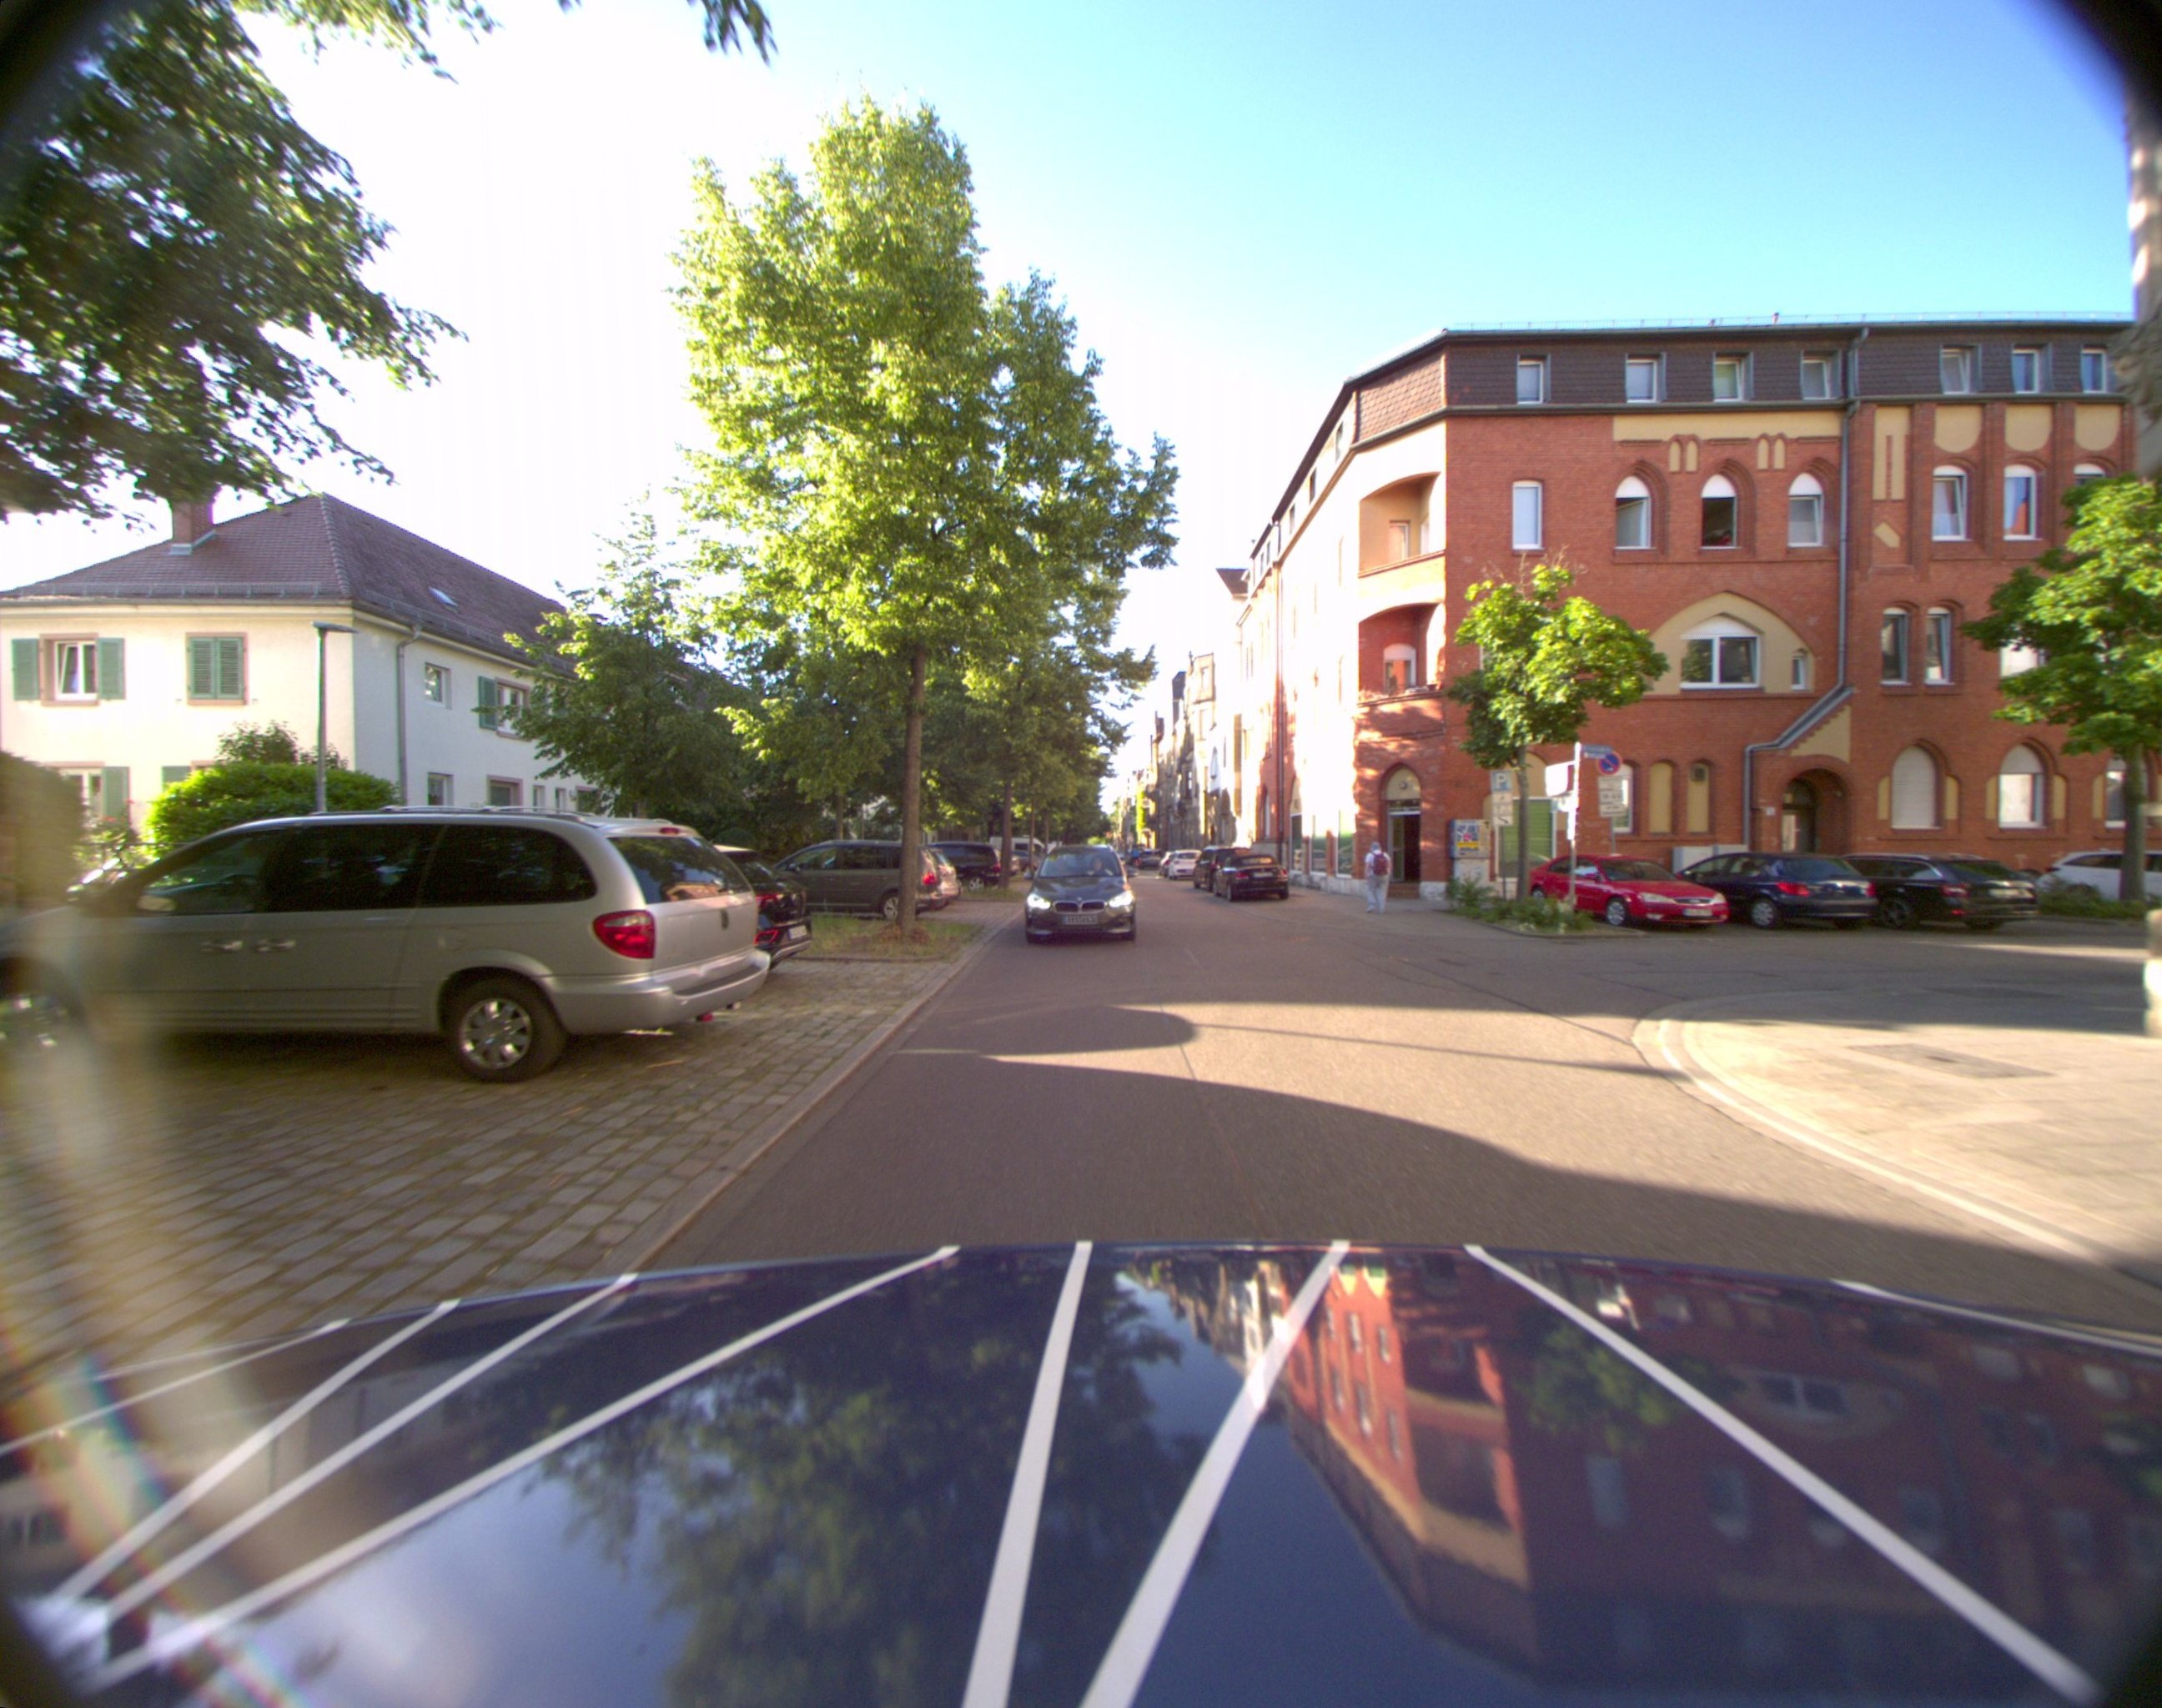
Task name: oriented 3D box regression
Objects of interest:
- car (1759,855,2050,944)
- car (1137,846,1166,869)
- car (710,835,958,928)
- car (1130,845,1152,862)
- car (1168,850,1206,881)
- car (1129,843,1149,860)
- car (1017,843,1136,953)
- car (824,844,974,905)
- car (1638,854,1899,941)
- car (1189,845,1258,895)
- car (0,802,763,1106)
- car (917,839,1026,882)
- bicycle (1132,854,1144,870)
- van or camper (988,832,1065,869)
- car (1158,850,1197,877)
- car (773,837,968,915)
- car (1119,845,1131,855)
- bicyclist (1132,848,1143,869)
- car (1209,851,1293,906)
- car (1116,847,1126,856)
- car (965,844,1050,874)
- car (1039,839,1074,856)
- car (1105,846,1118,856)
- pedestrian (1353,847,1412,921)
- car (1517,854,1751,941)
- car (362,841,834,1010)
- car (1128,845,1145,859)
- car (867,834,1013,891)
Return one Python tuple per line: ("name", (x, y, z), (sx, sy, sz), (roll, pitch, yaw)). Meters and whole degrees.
("car", (16.462, 0.811, 15.542), (1.717, 1.503, 3.914), (0, 1, 1))
("car", (5.508, 0.278, 59.776), (1.881, 1.707, 4.339), (-1, 1, 1))
("car", (-4.977, 0.547, 15.849), (4.552, 1.624, 1.811), (3, 1, -5))
("car", (5.631, -0.061, 71.633), (1.774, 1.493, 4.211), (0, 2, 0))
("car", (5.346, 0.530, 38.648), (1.570, 1.462, 3.591), (-1, 0, 3))
("car", (5.987, -0.309, 78.568), (1.774, 1.658, 4.211), (-1, 1, 0))
("car", (-0.012, 0.663, 13.844), (1.753, 1.596, 4.550), (-2, 0, 1))
("car", (-5.001, 0.550, 21.218), (3.731, 1.445, 1.589), (3, 1, 0))
("car", (14.123, 0.807, 16.014), (1.717, 1.541, 4.212), (0, 1, 1))
("car", (5.290, 0.535, 28.667), (1.673, 1.671, 4.349), (-1, 1, -1))
("car", (-5.008, 0.569, 5.479), (4.630, 1.700, 1.833), (2, 1, 2))
("car", (-4.809, 0.278, 33.686), (4.487, 1.624, 1.875), (3, 1, 0))
("bicycle", (4.106, 0.578, 55.113), (0.759, 1.101, 1.907), (0, 1, 1))
("van or camper", (-4.173, -0.275, 59.066), (5.733, 2.502, 2.162), (3, 1, 0))
("car", (5.477, 0.497, 43.684), (1.681, 1.434, 4.111), (-2, 0, 0))
("car", (-5.129, 0.504, 18.827), (4.282, 1.624, 1.690), (3, 1, 4))
("car", (7.110, -0.633, 123.645), (1.686, 1.496, 3.629), (-4, -1, 2))
("bicyclist", (4.103, 0.333, 55.085), (0.761, 1.446, 0.948), (0, 2, 1))
("car", (5.123, 0.683, 23.424), (1.640, 1.402, 4.332), (-3, 1, 1))
("car", (7.622, -0.437, 144.742), (1.710, 1.496, 3.629), (-4, -1, 2))
("car", (-4.328, 0.272, 45.490), (4.850, 1.530, 1.894), (3, 1, -1))
("car", (-3.865, -1.017, 119.765), (5.448, 2.646, 2.134), (1, 1, 1))
("car", (4.340, -0.474, 109.902), (1.631, 1.469, 3.758), (1, 1, -1))
("pedestrian", (6.882, 0.662, 17.398), (0.890, 1.569, 1.052), (1, 4, 1))
("car", (11.392, 0.792, 16.138), (1.639, 1.460, 4.657), (-1, 1, 1))
("car", (-5.065, 0.709, 8.353), (4.077, 1.468, 1.694), (3, 0, 2))
("car", (6.117, -0.219, 83.434), (1.633, 1.439, 3.856), (-4, -1, 2))
("car", (-4.803, 0.285, 26.329), (4.592, 1.667, 1.907), (3, 1, 3))
